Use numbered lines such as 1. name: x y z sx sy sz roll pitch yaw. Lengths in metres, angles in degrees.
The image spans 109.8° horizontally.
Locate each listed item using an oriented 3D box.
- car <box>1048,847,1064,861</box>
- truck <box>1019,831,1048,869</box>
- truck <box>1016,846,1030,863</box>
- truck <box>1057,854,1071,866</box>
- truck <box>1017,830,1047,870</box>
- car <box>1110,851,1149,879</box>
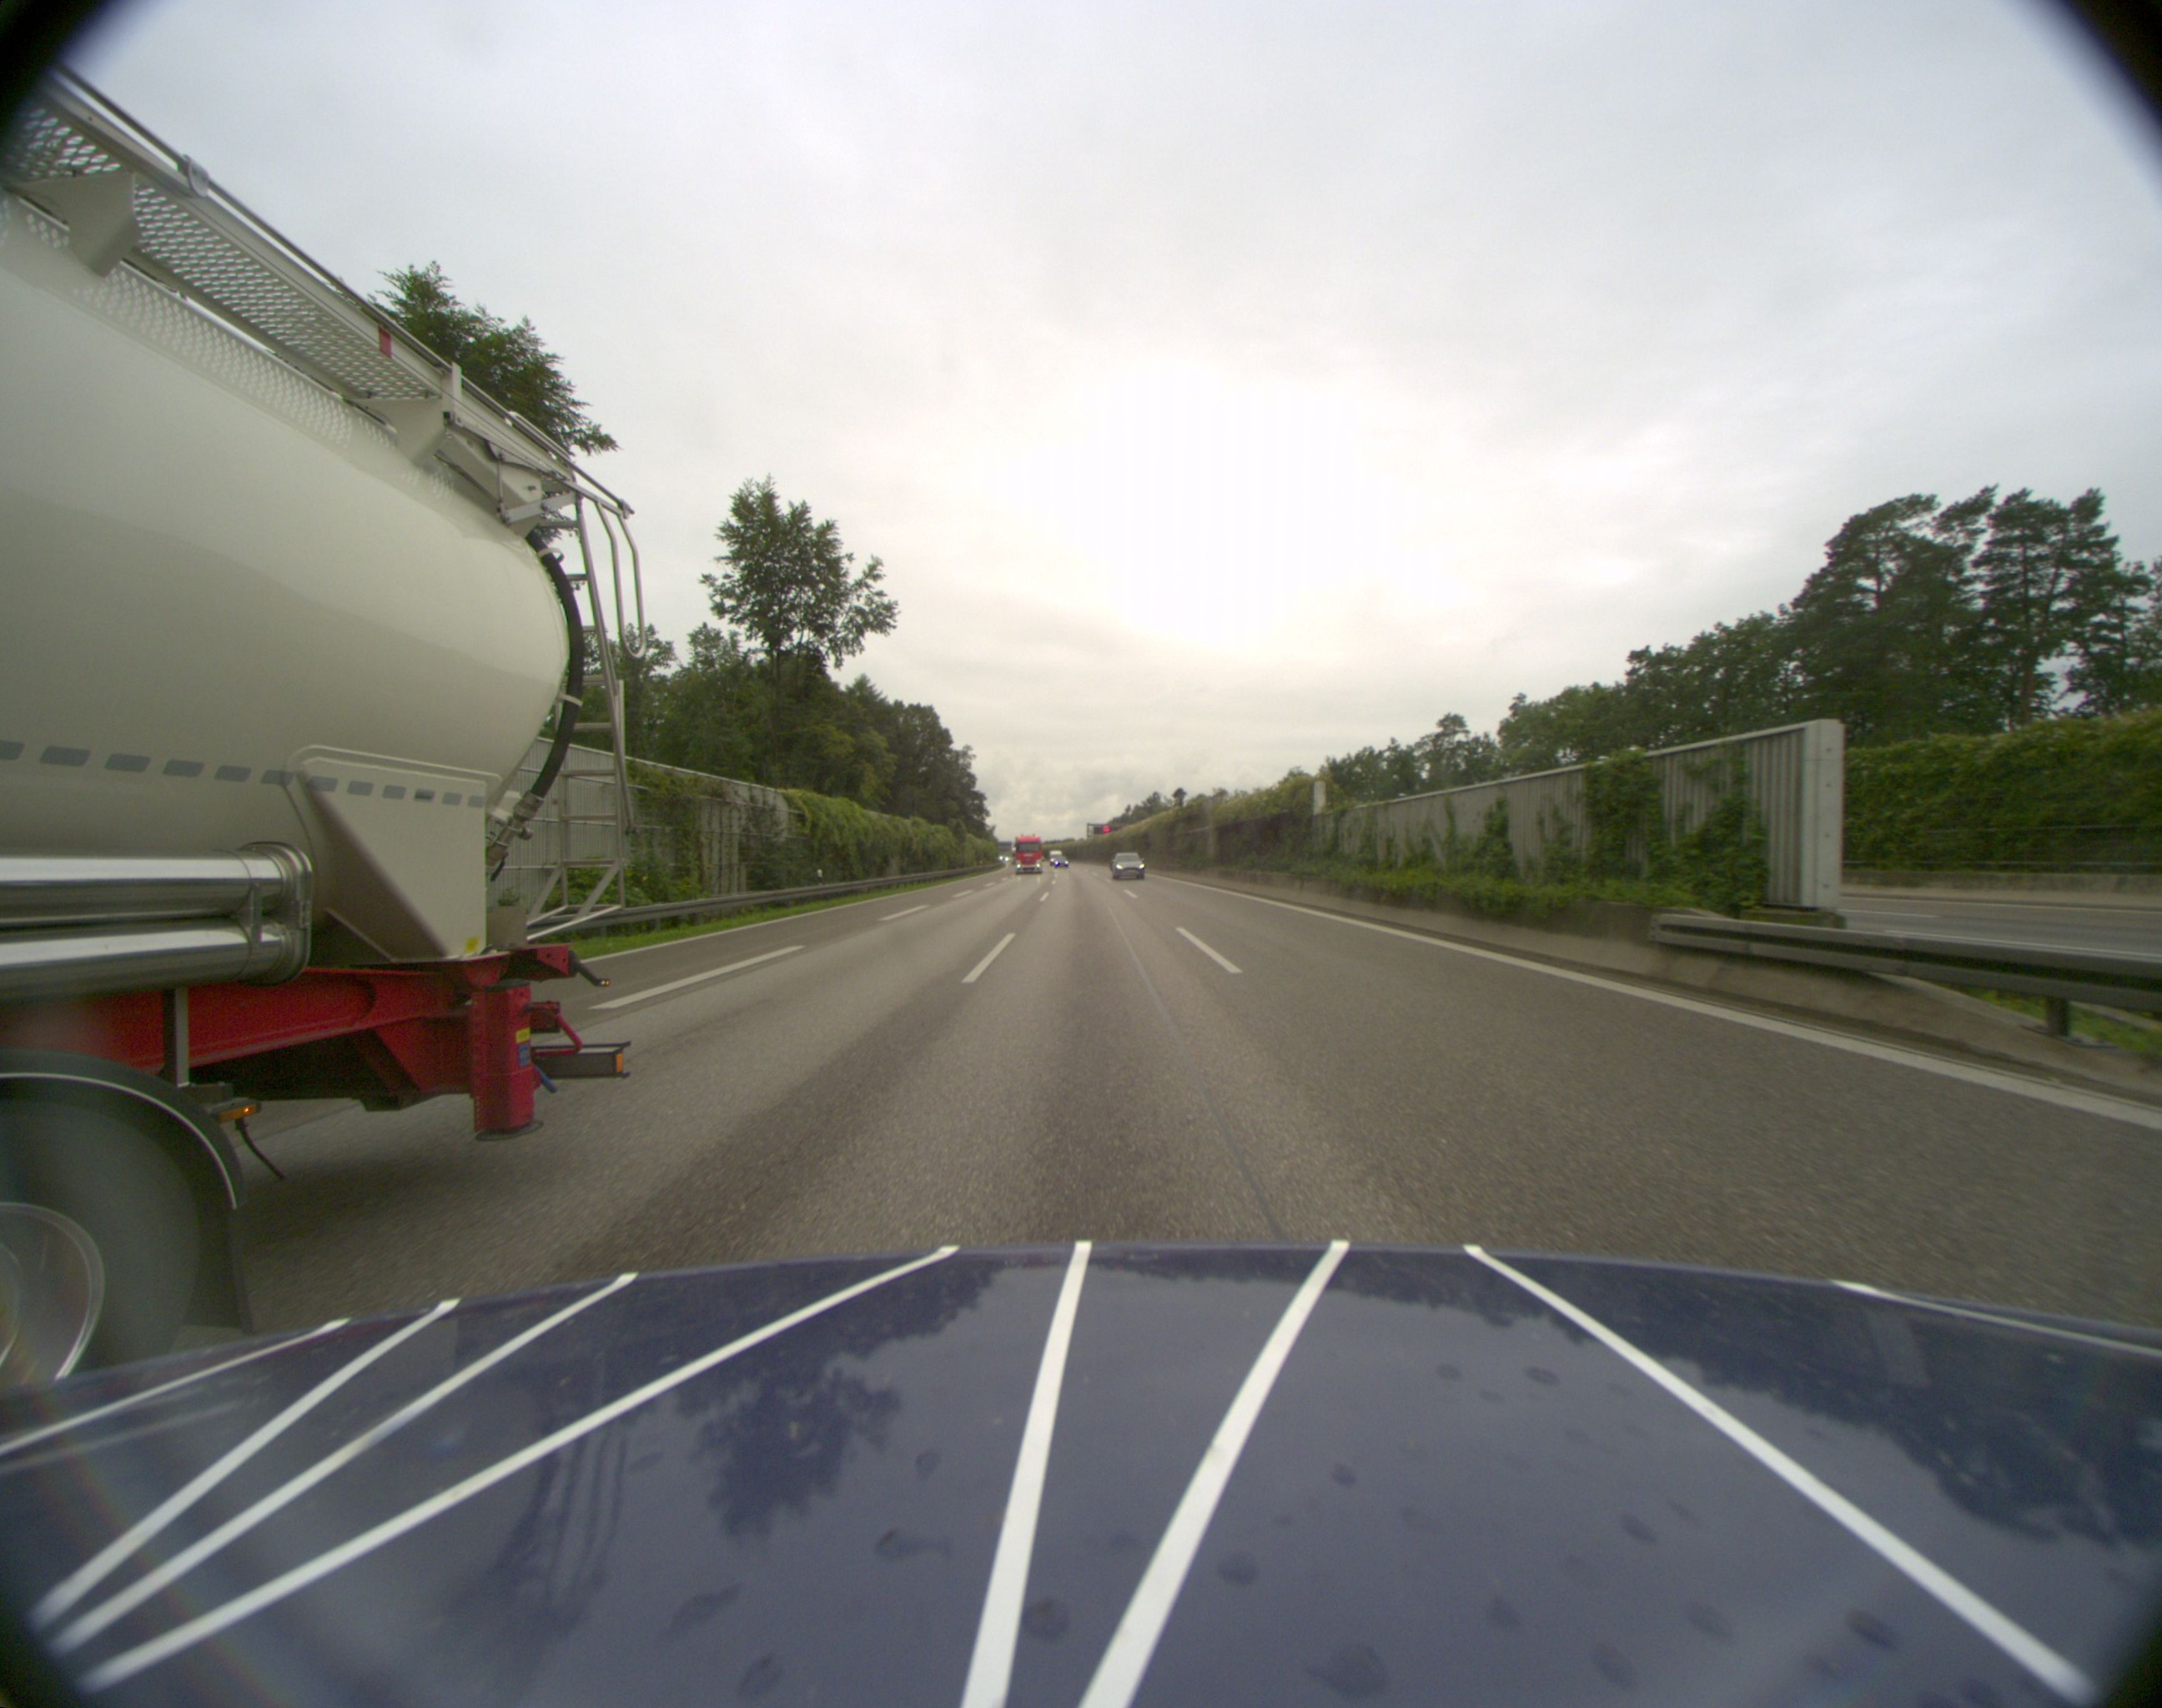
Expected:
1. car: -4.275 -0.065 130.325 2.769 2.227 6.544 -1 1 -2
2. truck: -4.907 -0.537 79.981 2.709 3.691 9.836 -1 2 -2
3. truck: -13.350 0.038 173.534 2.710 3.690 8.235 -1 1 -7
4. truck: -2.392 0.833 106.283 1.826 1.535 3.997 -1 2 -4
5. truck: -4.756 -0.421 74.903 2.709 3.809 4.197 -1 2 -1
6. car: 3.074 0.638 49.013 2.023 1.595 5.437 -1 1 -1
